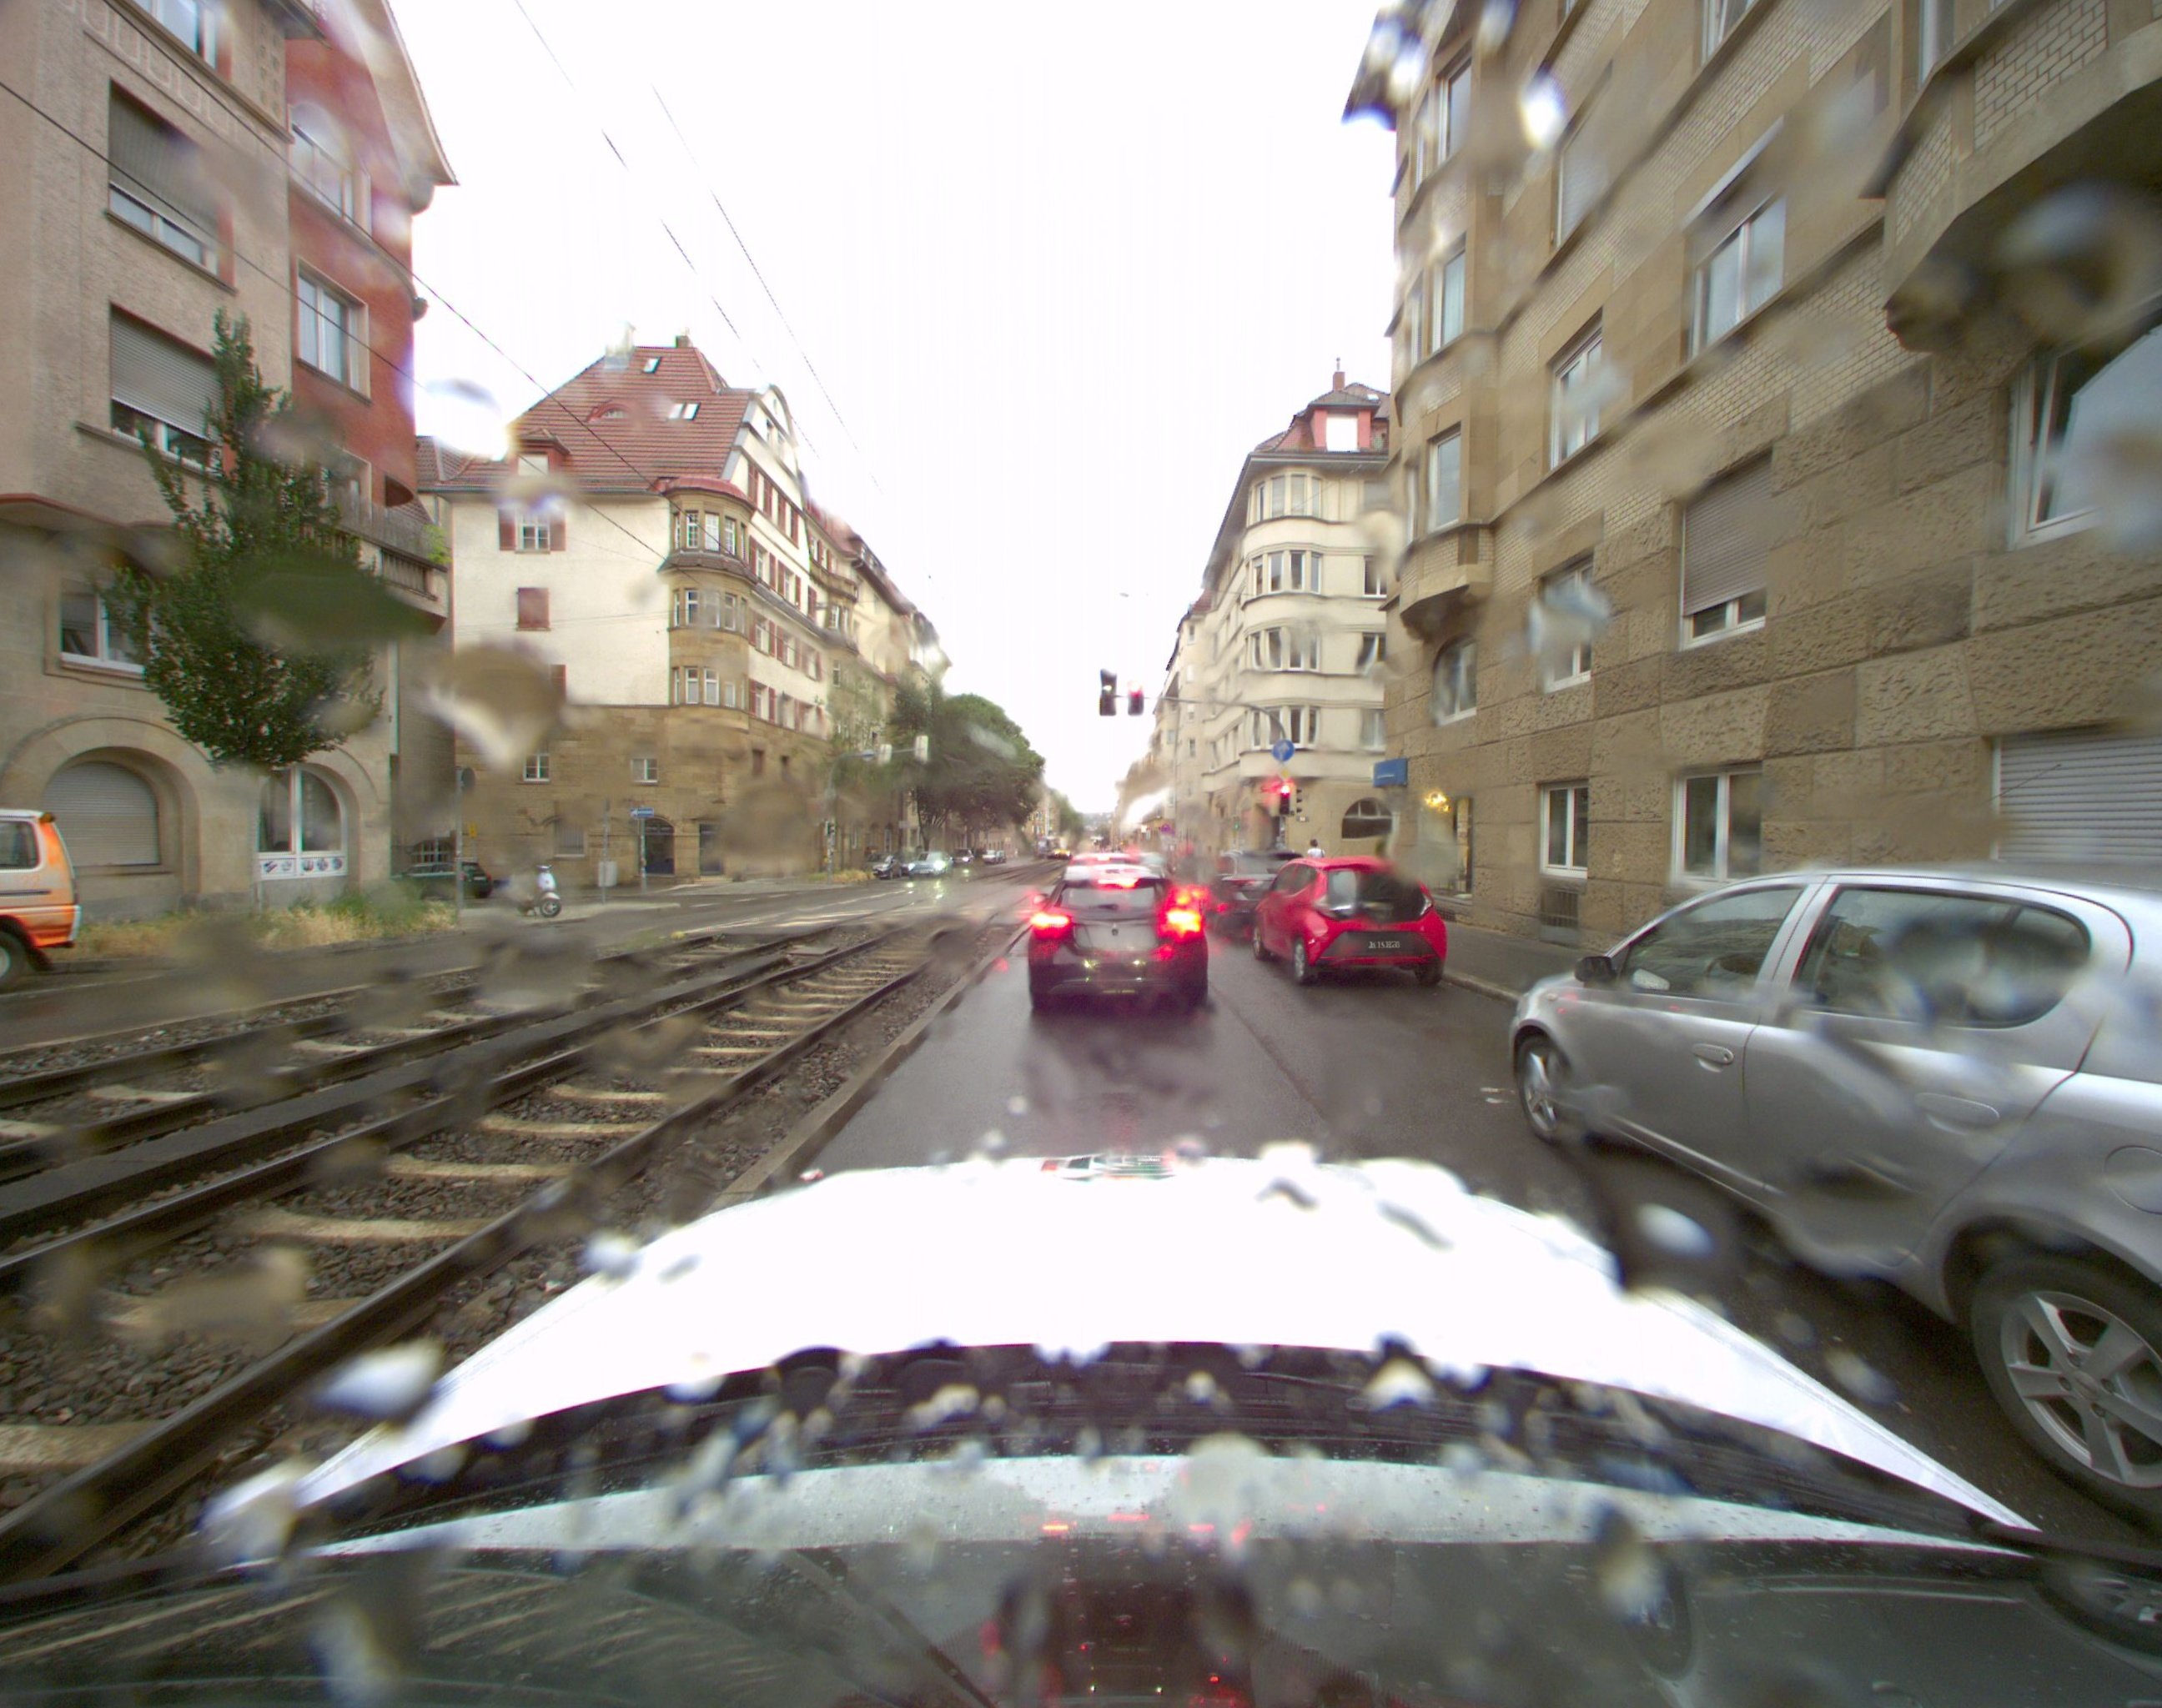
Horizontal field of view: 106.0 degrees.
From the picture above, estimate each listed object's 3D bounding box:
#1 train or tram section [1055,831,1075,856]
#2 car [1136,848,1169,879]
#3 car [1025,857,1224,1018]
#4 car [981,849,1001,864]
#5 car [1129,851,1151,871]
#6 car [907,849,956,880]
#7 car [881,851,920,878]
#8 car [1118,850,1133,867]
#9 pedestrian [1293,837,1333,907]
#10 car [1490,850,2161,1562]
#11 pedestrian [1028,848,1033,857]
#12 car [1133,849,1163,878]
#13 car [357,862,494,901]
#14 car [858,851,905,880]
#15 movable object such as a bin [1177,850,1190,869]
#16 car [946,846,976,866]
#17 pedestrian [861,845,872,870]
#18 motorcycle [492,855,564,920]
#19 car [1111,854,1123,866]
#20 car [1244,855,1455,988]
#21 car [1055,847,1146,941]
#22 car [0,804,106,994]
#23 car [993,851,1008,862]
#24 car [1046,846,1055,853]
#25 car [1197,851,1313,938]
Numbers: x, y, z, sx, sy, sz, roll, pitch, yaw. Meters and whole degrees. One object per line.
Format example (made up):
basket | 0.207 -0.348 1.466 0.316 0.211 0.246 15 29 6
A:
train or tram section | -2.556 -1.658 134.888 2.772 3.861 10.433 0 -1 2
car | 3.703 0.482 42.697 1.539 1.590 3.549 0 0 2
car | 0.464 0.781 9.560 1.822 1.458 4.105 0 0 2
car | -9.859 0.303 89.595 1.583 1.581 3.920 0 -1 2
car | 4.419 0.528 61.579 1.539 1.486 3.549 0 0 2
car | -8.268 0.578 45.428 1.891 1.588 3.974 0 -1 2
car | -11.284 0.642 51.150 1.713 1.611 3.914 0 -1 -3
car | 4.031 0.403 73.669 1.289 1.442 2.930 0 0 2
pedestrian | 6.005 0.464 21.154 0.739 1.748 1.111 0 -1 2
car | 3.143 0.742 3.096 1.608 1.467 3.314 -2 0 3
pedestrian | -11.018 -0.231 178.536 1.049 1.957 1.043 1 0 3
car | 3.844 0.525 47.171 1.539 1.590 3.549 0 0 2
car | -24.384 1.004 30.408 3.633 1.404 1.699 0 -1 -3
car | -11.253 0.636 46.115 1.747 1.552 4.033 0 -1 -2
movable object such as a bin | 7.478 0.423 59.551 0.873 1.389 0.984 0 -1 5
car | -10.591 0.211 72.137 1.868 1.737 3.920 0 -1 2
pedestrian | -14.130 0.222 53.678 0.630 1.672 0.701 0 -1 -5
motorcycle | -12.068 0.708 17.764 1.577 1.365 0.628 -1 -1 28
car | 5.084 0.832 114.201 1.537 1.636 3.691 0 0 5
car | 3.274 0.735 10.561 1.637 1.448 3.298 0 0 -1
car | 0.391 0.700 15.955 1.559 1.609 3.815 0 -1 2
car | -12.125 0.466 7.208 1.725 1.975 4.341 0 -1 0
car | -9.788 0.290 99.010 1.443 1.331 3.271 0 -1 0
car | -5.652 -0.904 150.894 1.372 1.249 3.297 0 -1 0
car | 3.241 0.689 15.805 1.539 1.486 3.831 0 0 2
